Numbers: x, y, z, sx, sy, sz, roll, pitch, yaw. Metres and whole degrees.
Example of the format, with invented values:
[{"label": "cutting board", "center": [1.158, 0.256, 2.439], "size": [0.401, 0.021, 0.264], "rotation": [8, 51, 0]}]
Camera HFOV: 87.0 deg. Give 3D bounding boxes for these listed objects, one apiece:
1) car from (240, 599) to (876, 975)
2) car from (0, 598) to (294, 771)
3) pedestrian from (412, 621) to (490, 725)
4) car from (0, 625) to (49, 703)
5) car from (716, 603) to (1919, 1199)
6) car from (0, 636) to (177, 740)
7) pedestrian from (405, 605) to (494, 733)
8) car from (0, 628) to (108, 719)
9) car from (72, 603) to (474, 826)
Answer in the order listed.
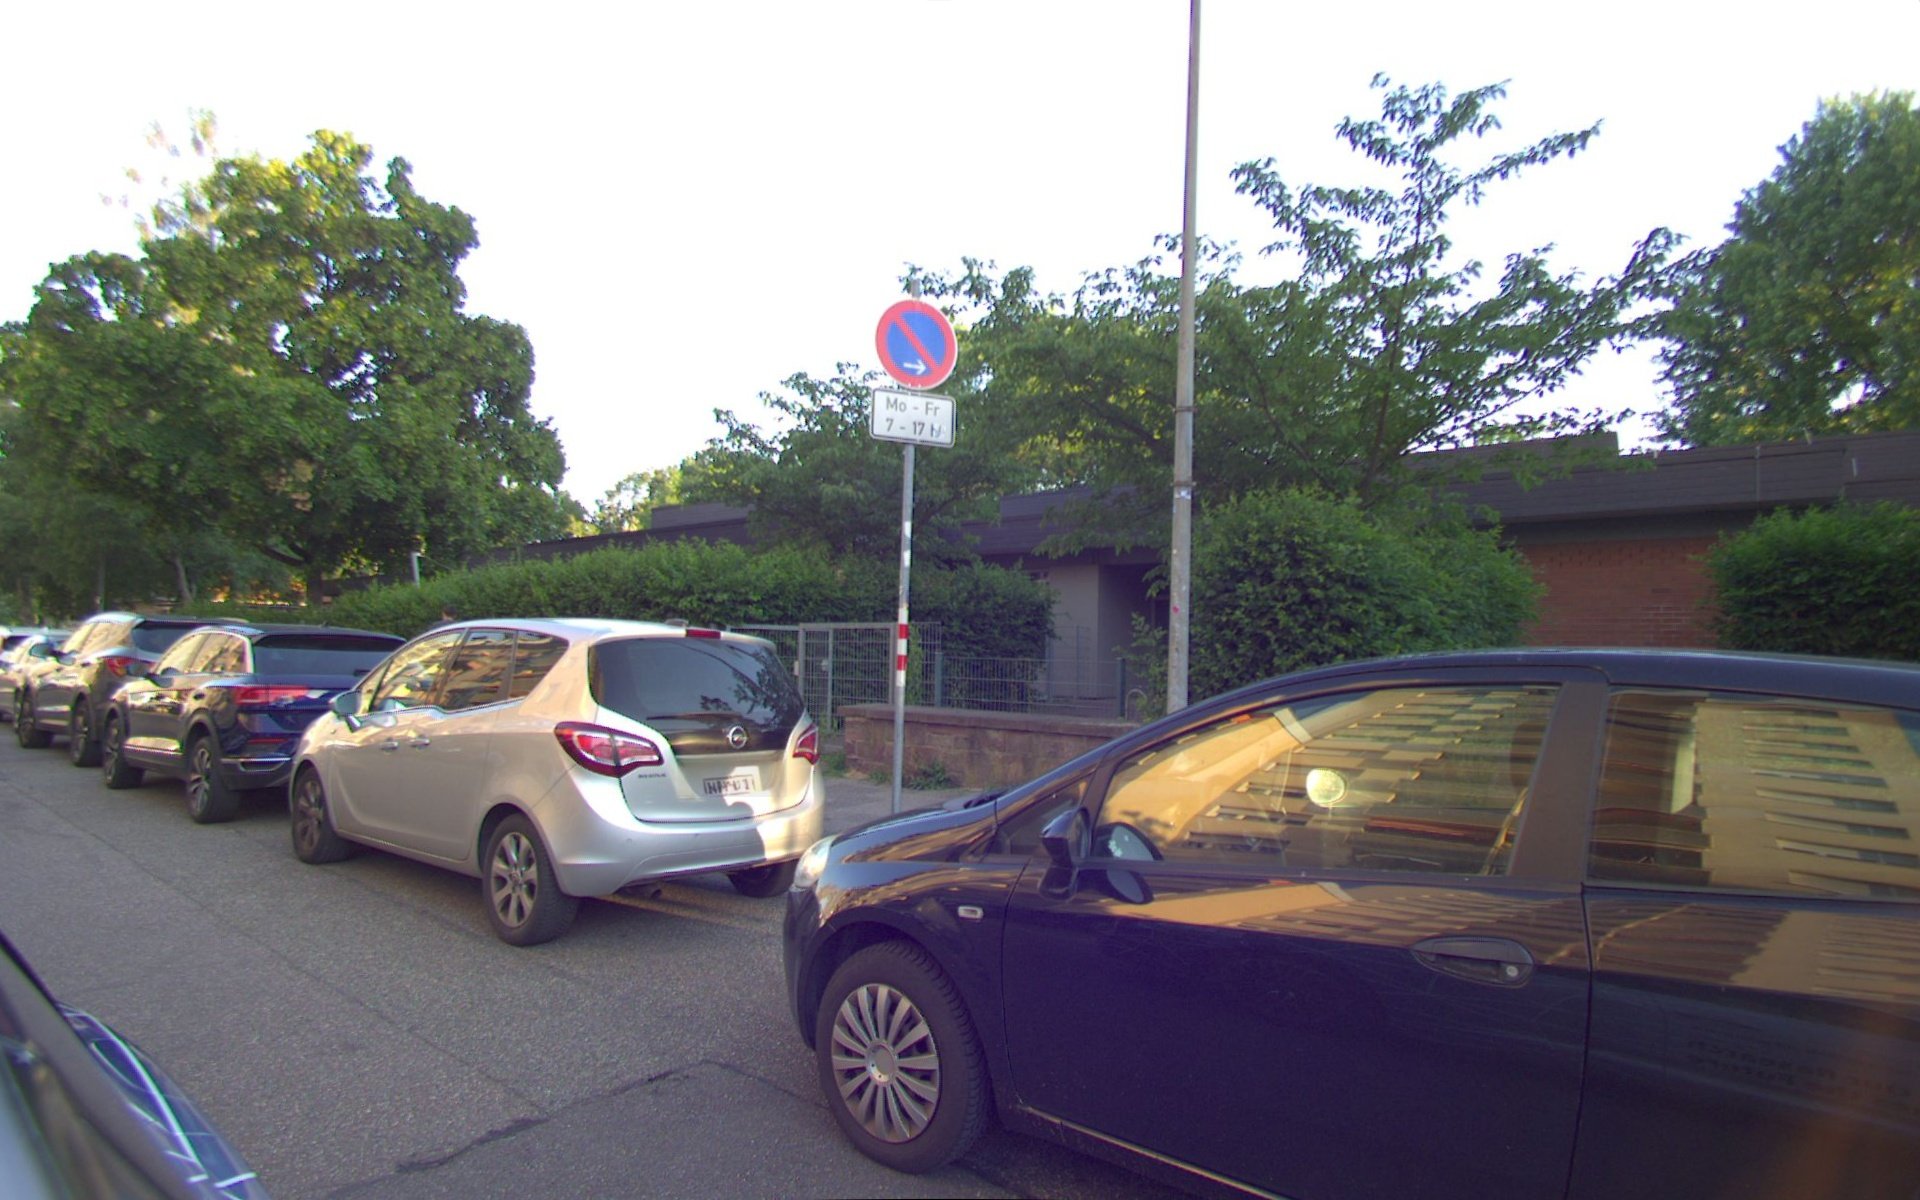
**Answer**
[{"label": "car", "center": [-2.634, 0.886, 6.226], "size": [4.123, 1.579, 1.717], "rotation": [-2, -5, 37]}, {"label": "car", "center": [-9.926, 0.958, 12.240], "size": [4.316, 1.743, 1.717], "rotation": [-2, -5, 37]}, {"label": "pedestrian", "center": [-7.815, 1.102, 15.549], "size": [0.900, 1.519, 0.741], "rotation": [-2, -1, 38]}, {"label": "car", "center": [-21.924, 1.408, 22.640], "size": [3.978, 1.644, 1.715], "rotation": [-2, -5, 41]}, {"label": "car", "center": [1.270, 0.868, 2.608], "size": [3.691, 1.579, 1.717], "rotation": [-2, -5, 37]}, {"label": "car", "center": [-14.183, 1.318, 16.019], "size": [4.280, 1.438, 1.717], "rotation": [-2, -5, 37]}, {"label": "pedestrian", "center": [-7.323, 0.961, 14.533], "size": [0.749, 1.745, 0.890], "rotation": [-2, -1, 38]}, {"label": "car", "center": [-17.891, 1.350, 19.153], "size": [4.273, 1.555, 1.742], "rotation": [-2, -5, 37]}, {"label": "car", "center": [-6.328, 0.916, 9.166], "size": [4.160, 1.579, 1.717], "rotation": [-2, -5, 37]}]
